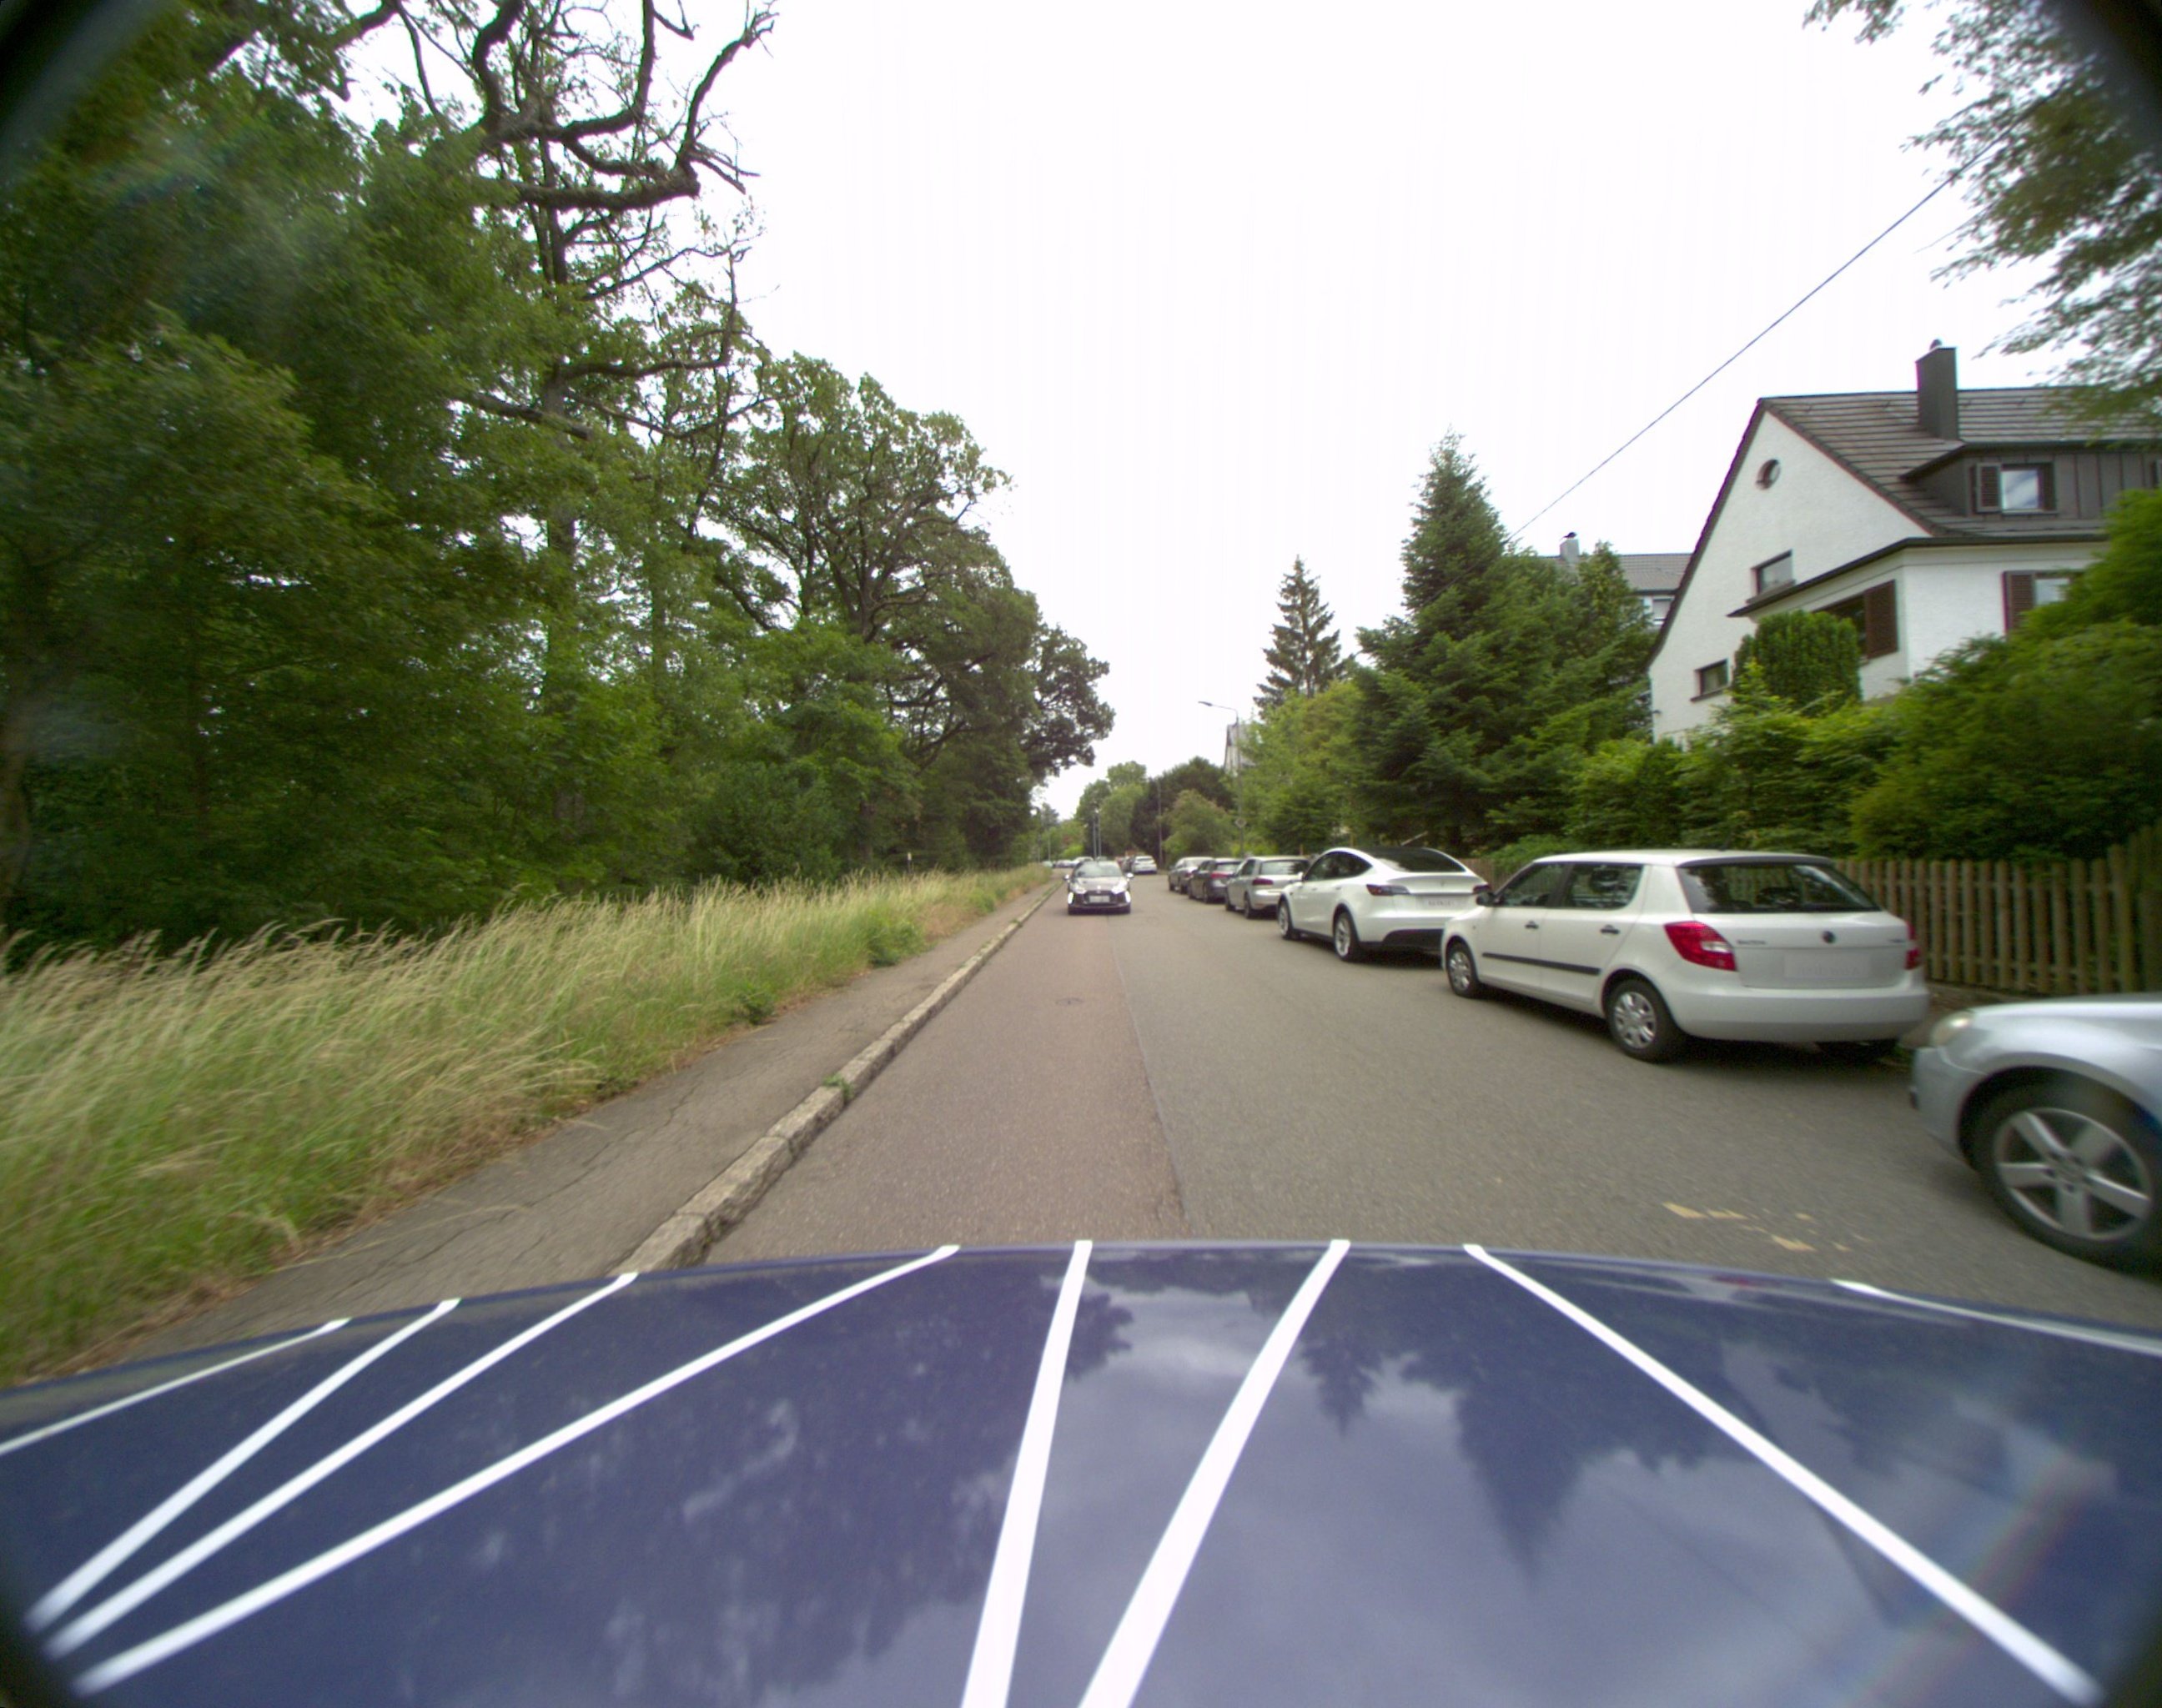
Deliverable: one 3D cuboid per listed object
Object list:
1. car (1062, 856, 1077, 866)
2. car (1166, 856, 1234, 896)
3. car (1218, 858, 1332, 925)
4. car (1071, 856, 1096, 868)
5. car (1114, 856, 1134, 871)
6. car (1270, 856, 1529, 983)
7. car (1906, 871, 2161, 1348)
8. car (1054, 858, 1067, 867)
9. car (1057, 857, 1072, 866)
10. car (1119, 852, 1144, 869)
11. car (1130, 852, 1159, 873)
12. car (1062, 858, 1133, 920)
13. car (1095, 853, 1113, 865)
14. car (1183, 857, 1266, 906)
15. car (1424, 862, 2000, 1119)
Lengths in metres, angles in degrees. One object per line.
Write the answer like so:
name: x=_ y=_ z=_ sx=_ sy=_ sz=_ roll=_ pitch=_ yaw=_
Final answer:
car: x=-2.078 y=1.317 z=137.718 sx=2.000 sy=1.678 sz=4.707 roll=-3 pitch=0 yaw=-10
car: x=4.691 y=0.812 z=30.532 sx=1.853 sy=1.431 sz=4.909 roll=-1 pitch=0 yaw=-1
car: x=4.703 y=0.851 z=19.051 sx=1.839 sy=1.431 sz=4.116 roll=-1 pitch=0 yaw=1
car: x=0.368 y=1.279 z=118.025 sx=1.995 sy=1.678 sz=4.718 roll=-3 pitch=0 yaw=25
car: x=4.496 y=1.009 z=79.809 sx=1.741 sy=1.431 sz=3.787 roll=-3 pitch=0 yaw=-2
car: x=4.496 y=0.810 z=11.648 sx=1.921 sy=1.553 sz=4.603 roll=0 pitch=0 yaw=-2
car: x=4.290 y=0.830 z=1.148 sx=1.725 sy=1.496 sz=4.008 roll=0 pitch=0 yaw=0
car: x=-4.096 y=1.620 z=151.492 sx=2.000 sy=1.678 sz=4.706 roll=-3 pitch=0 yaw=-10
car: x=-3.187 y=1.423 z=145.934 sx=2.000 sy=1.678 sz=4.706 roll=-3 pitch=0 yaw=-10
car: x=4.584 y=0.600 z=69.523 sx=1.788 sy=1.431 sz=4.323 roll=-3 pitch=0 yaw=-2
car: x=4.915 y=0.615 z=59.009 sx=1.788 sy=1.491 sz=4.014 roll=-3 pitch=0 yaw=-1
car: x=0.408 y=0.919 z=21.755 sx=1.788 sy=1.491 sz=4.014 roll=-3 pitch=0 yaw=-1
car: x=3.016 y=0.613 z=99.049 sx=1.765 sy=1.441 sz=4.041 roll=-3 pitch=0 yaw=-6
car: x=4.564 y=0.830 z=24.798 sx=1.739 sy=1.431 sz=4.261 roll=-1 pitch=0 yaw=-2
car: x=4.643 y=0.840 z=6.460 sx=1.725 sy=1.496 sz=3.817 roll=0 pitch=0 yaw=0
